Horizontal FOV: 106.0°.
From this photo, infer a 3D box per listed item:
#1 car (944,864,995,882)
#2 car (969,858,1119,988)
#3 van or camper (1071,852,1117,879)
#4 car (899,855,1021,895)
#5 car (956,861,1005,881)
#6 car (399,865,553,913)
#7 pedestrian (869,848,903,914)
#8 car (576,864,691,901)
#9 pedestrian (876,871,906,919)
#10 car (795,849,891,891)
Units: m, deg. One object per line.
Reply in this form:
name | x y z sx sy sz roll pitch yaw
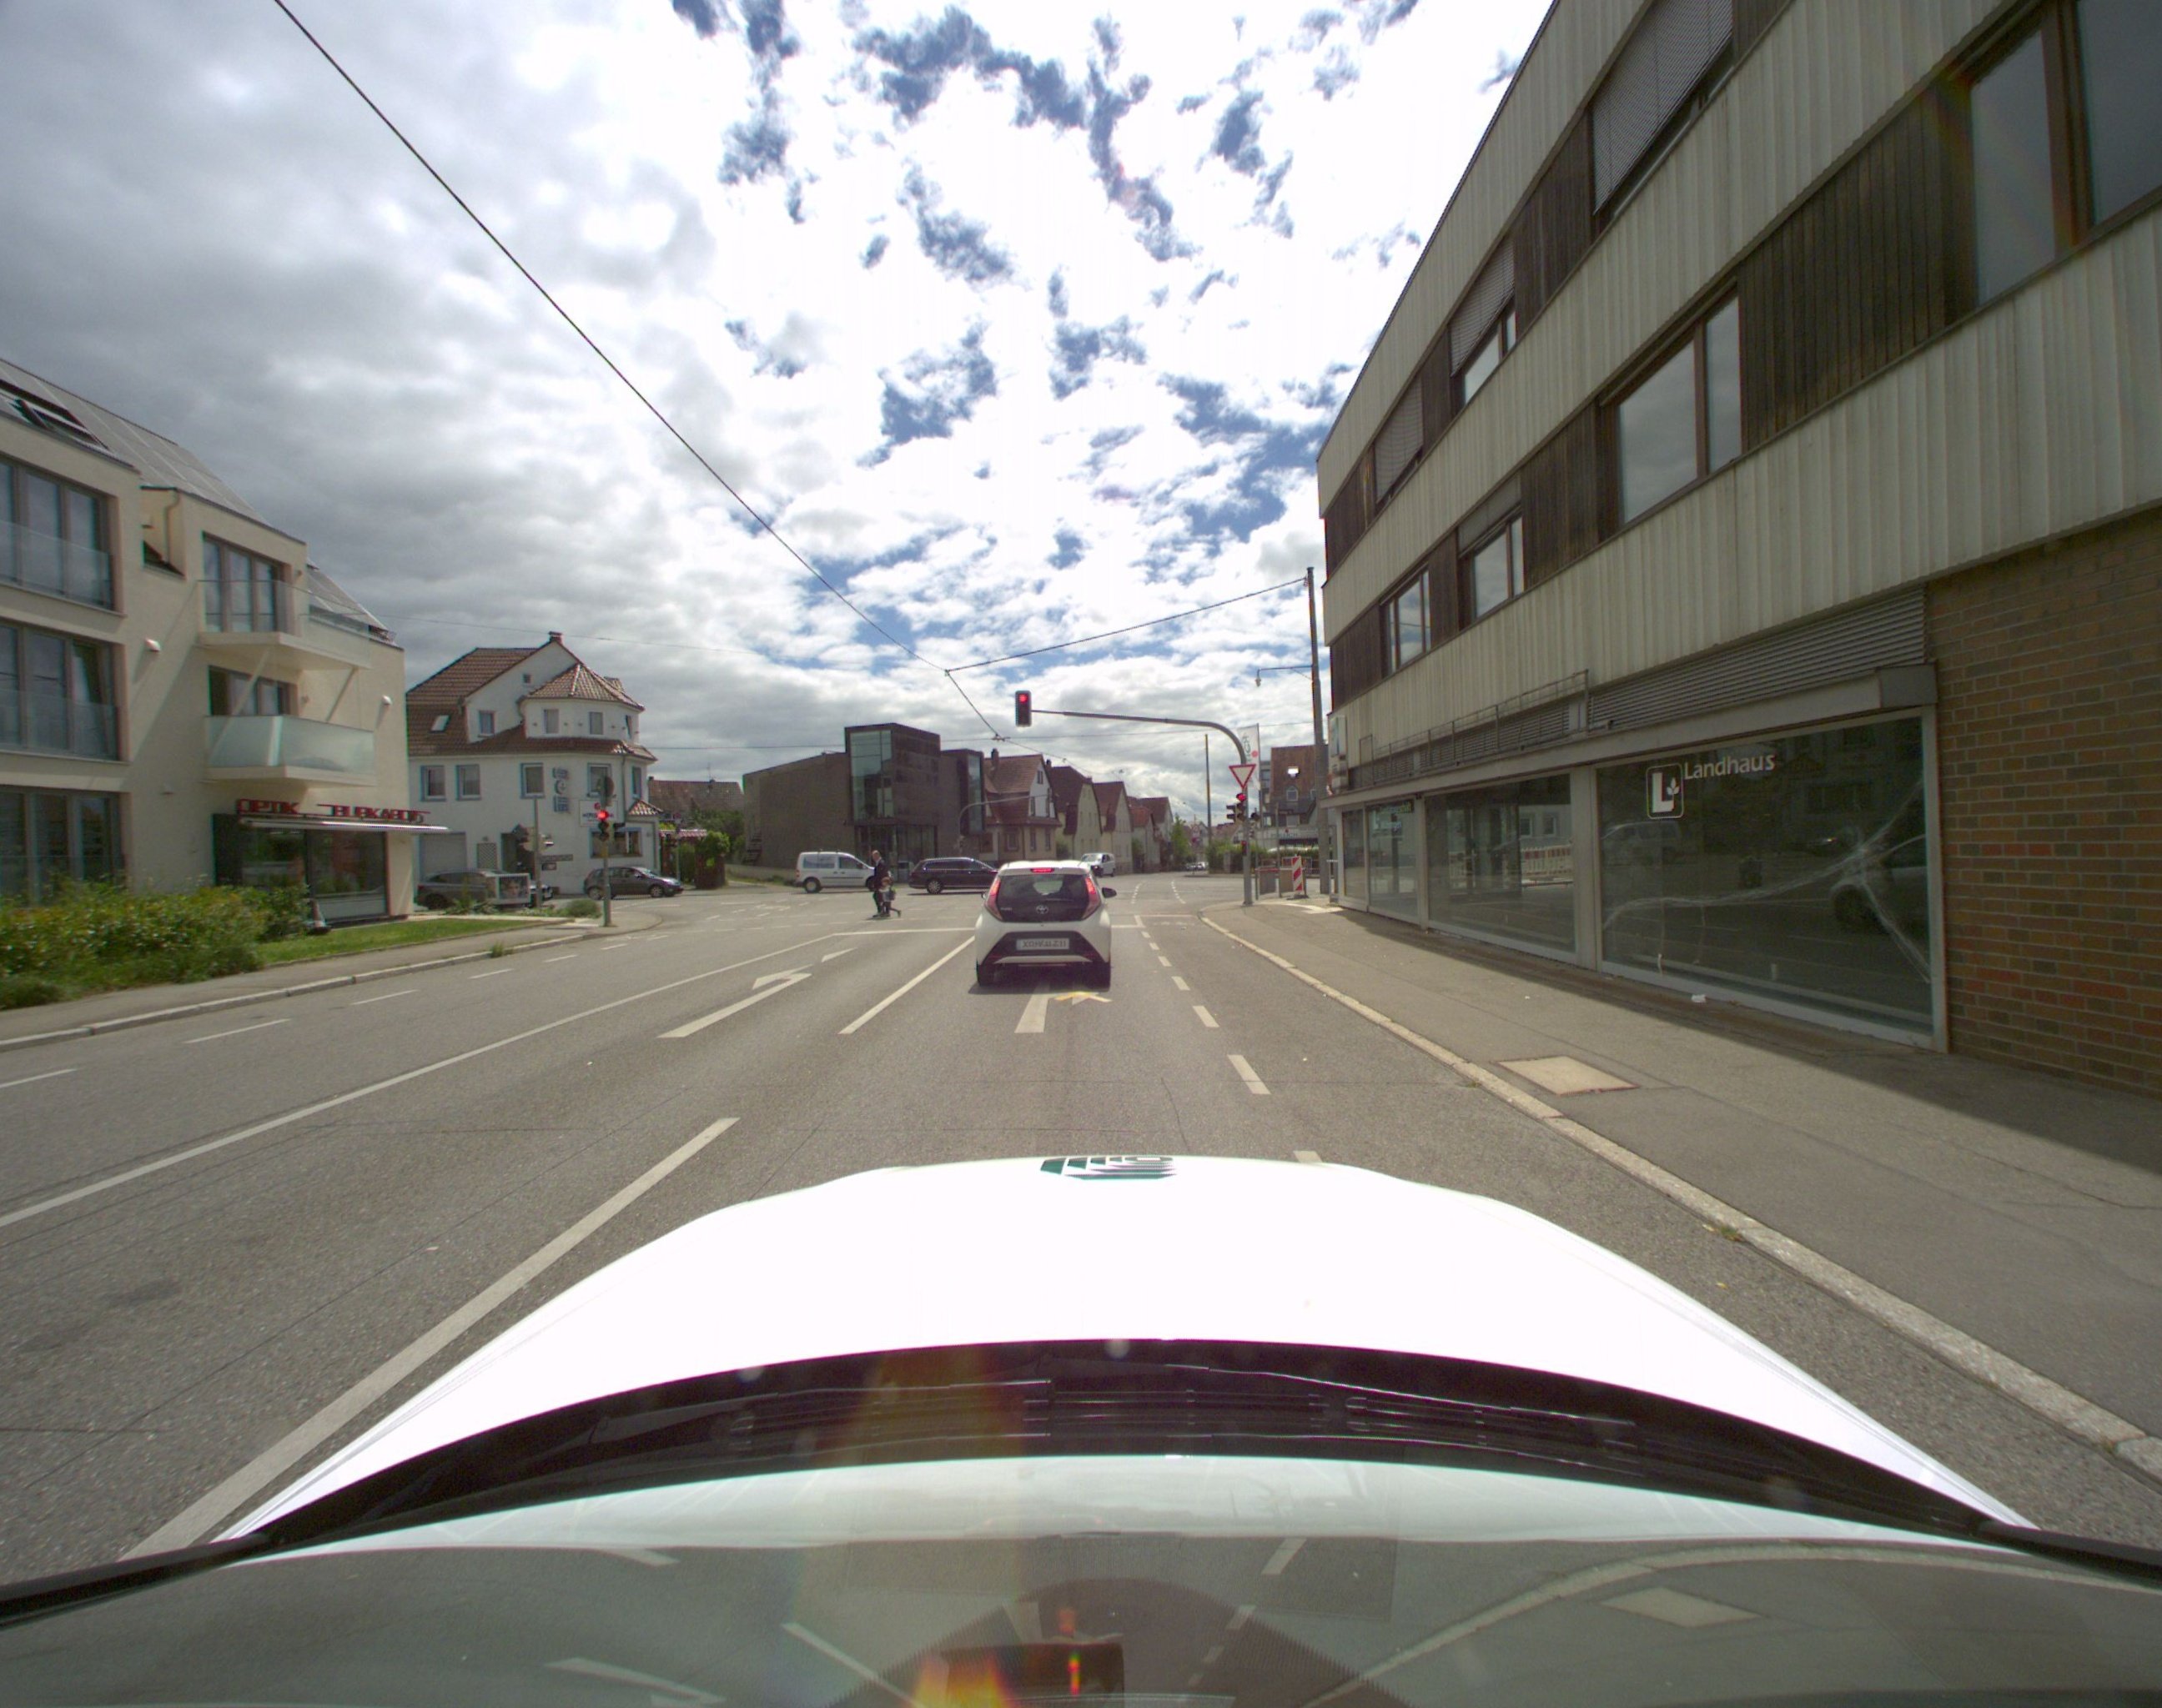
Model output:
car | -8.814 1.477 64.353 3.590 1.419 1.697 0 0 12
car | -0.434 0.785 10.872 1.692 1.456 3.298 0 0 -1
van or camper | 1.071 0.808 61.211 2.099 1.926 5.308 0 0 16
car | -5.005 0.851 34.133 4.892 1.577 1.995 -1 0 -7
car | -8.187 1.392 66.469 3.590 1.605 1.697 0 0 12
car | -23.308 1.316 31.548 4.292 1.675 1.993 -1 0 -10
pedestrian | -5.302 0.714 22.155 0.823 1.721 0.814 -1 0 -14
car | -19.414 1.206 35.527 3.991 1.486 1.991 0 0 -13
pedestrian | -5.036 1.072 21.541 0.734 1.221 0.643 -1 0 -14
car | -10.720 0.690 37.012 4.064 1.849 1.991 0 0 -13
